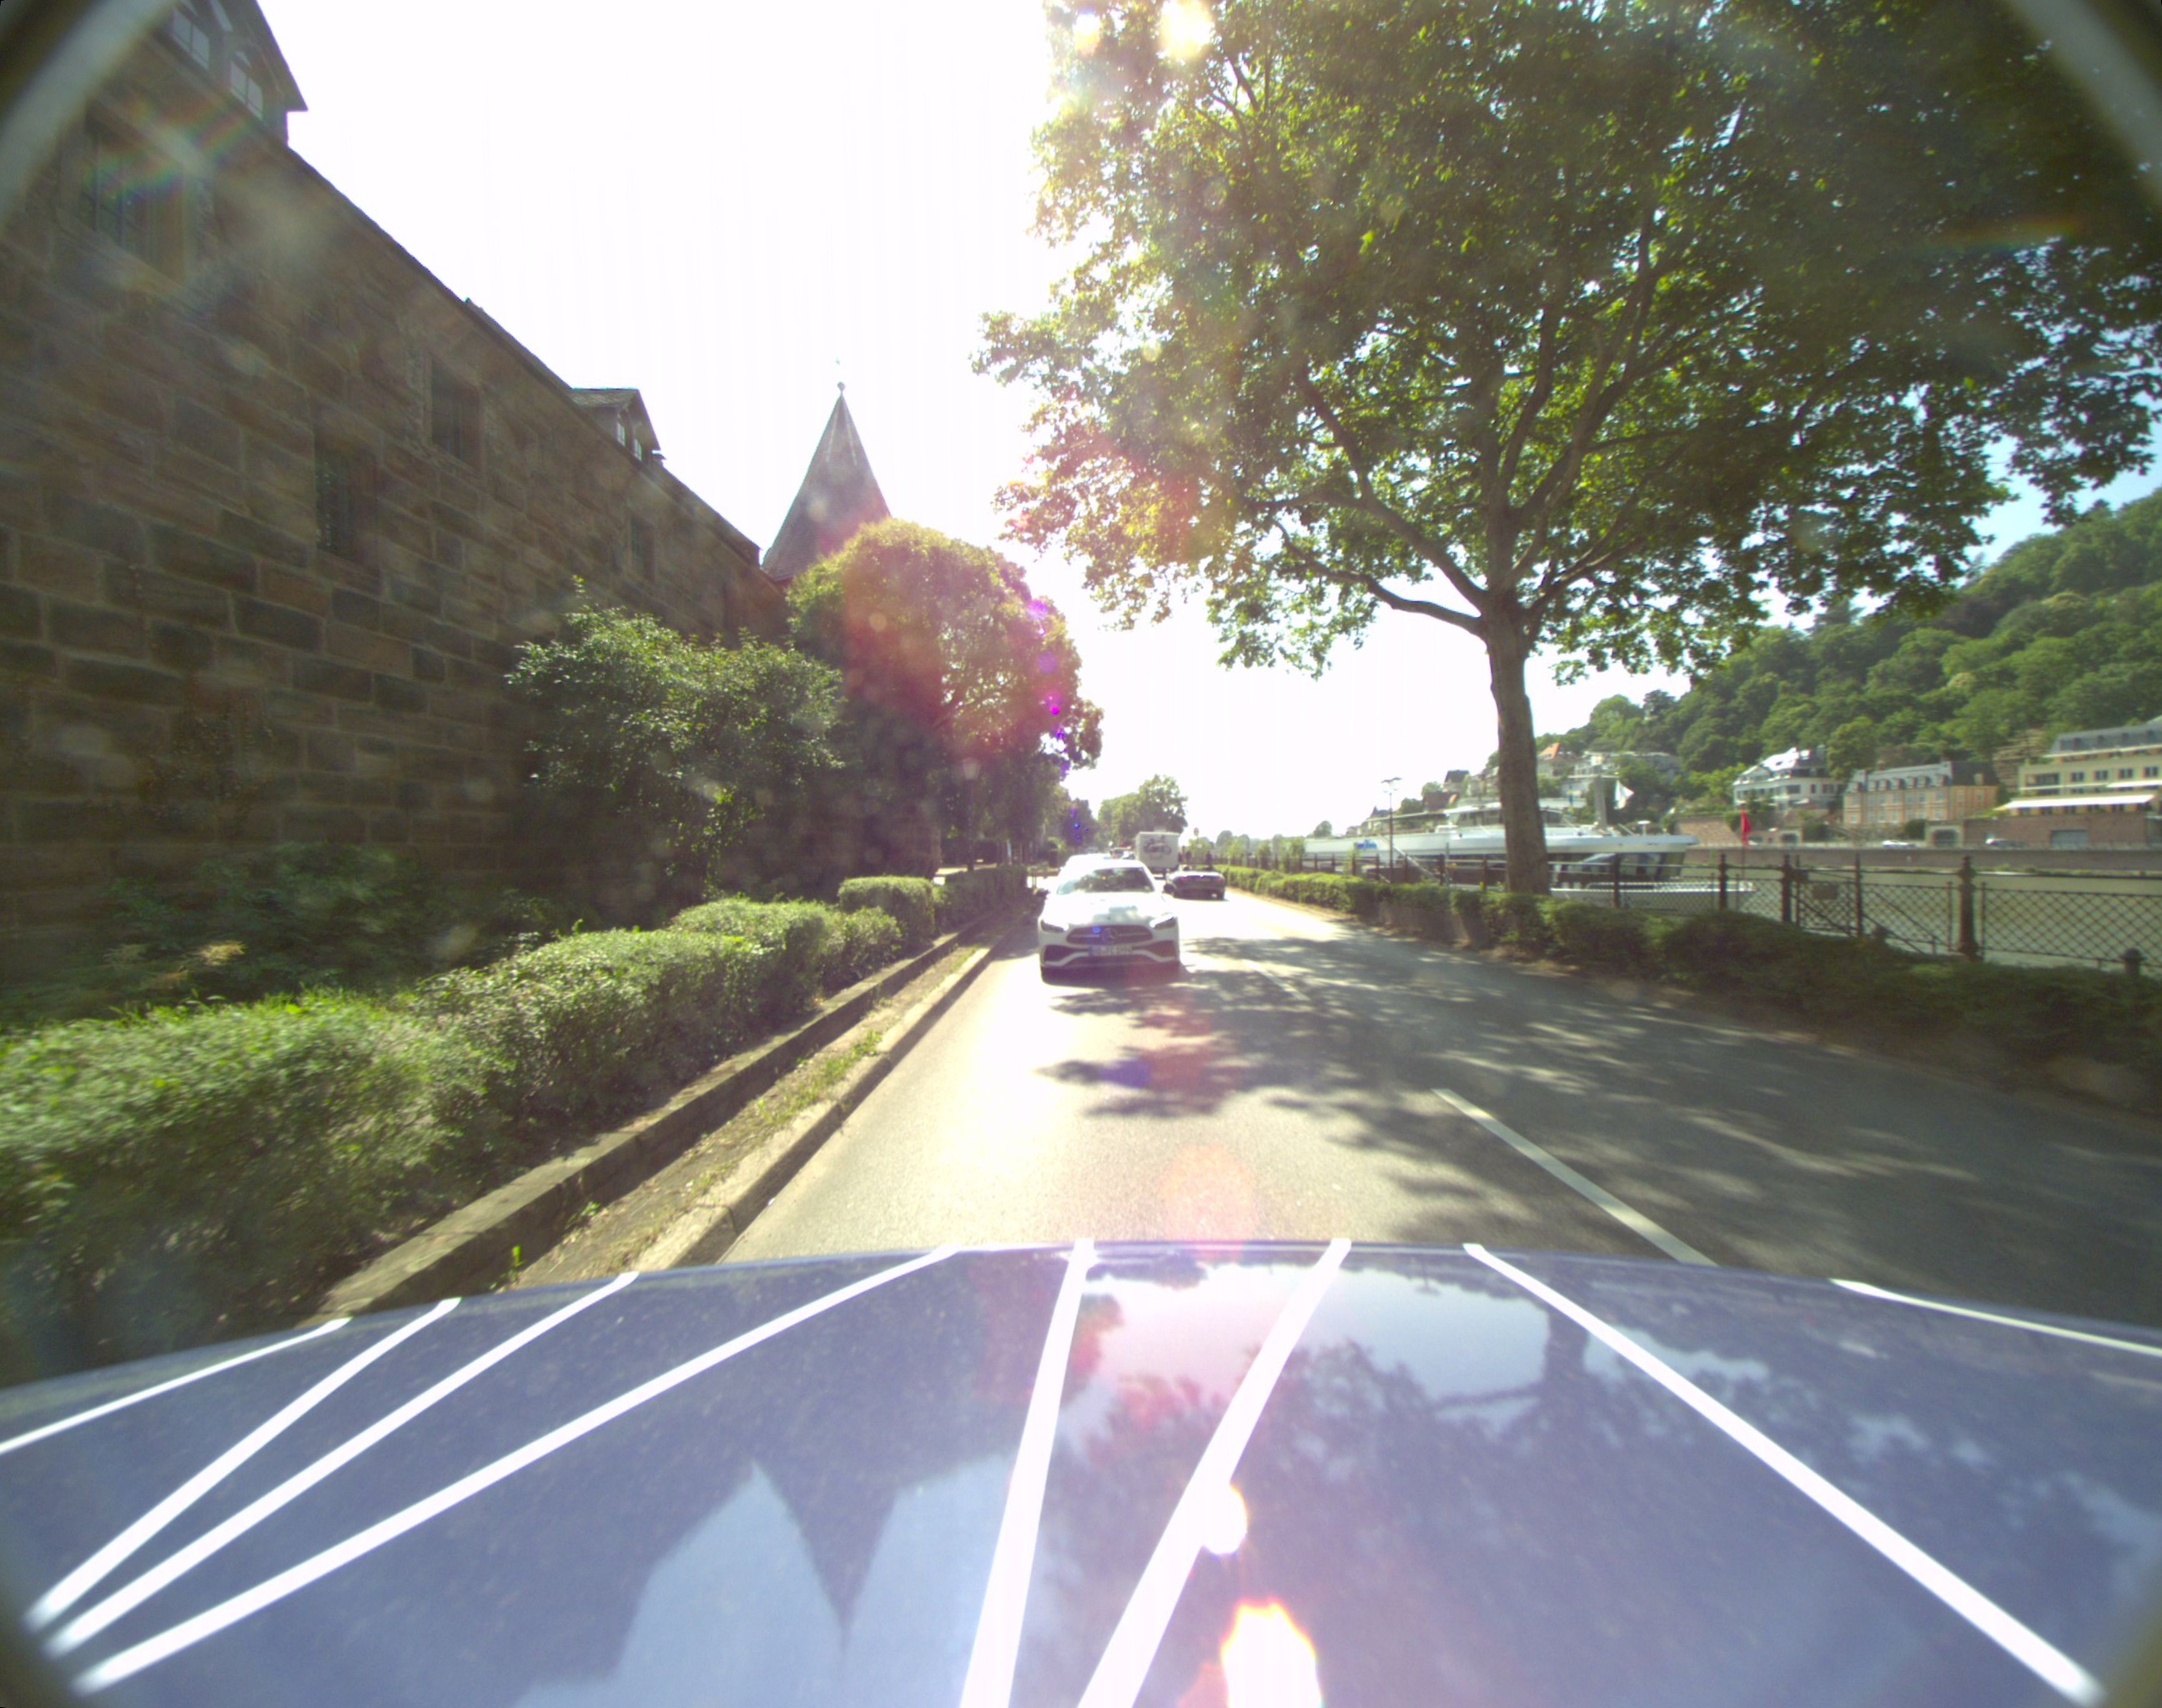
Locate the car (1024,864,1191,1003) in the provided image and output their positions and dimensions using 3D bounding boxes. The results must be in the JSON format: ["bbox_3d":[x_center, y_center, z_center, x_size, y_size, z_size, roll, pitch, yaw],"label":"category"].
[{"bbox_3d":[0.317,0.912,10.651,1.829,1.418,4.358,-2,0,1],"label":"car"}]

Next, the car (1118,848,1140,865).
[{"bbox_3d":[4.510,0.222,71.441,1.826,1.603,3.960,1,1,1],"label":"car"}]

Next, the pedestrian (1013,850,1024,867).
[{"bbox_3d":[-4.539,0.297,55.266,0.632,1.186,0.747,-3,1,3],"label":"pedestrian"}]

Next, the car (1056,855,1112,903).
[{"bbox_3d":[0.124,0.824,27.297,1.854,1.543,3.848,1,1,1],"label":"car"}]

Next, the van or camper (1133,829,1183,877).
[{"bbox_3d":[4.535,-0.097,45.792,2.328,2.647,6.263,1,1,0],"label":"van or camper"}]

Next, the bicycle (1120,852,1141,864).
[{"bbox_3d":[4.494,0.357,68.990,1.873,0.921,0.955,-3,1,2],"label":"bicycle"}]

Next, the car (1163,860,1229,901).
[{"bbox_3d":[3.884,0.876,26.214,1.702,1.204,3.485,1,1,-1],"label":"car"}]

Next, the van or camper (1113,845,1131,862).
[{"bbox_3d":[4.831,-0.059,89.213,1.922,1.976,4.000,1,1,1],"label":"van or camper"}]

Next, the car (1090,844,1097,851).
[{"bbox_3d":[3.604,-1.772,217.774,1.922,1.976,4.000,1,1,1],"label":"car"}]
